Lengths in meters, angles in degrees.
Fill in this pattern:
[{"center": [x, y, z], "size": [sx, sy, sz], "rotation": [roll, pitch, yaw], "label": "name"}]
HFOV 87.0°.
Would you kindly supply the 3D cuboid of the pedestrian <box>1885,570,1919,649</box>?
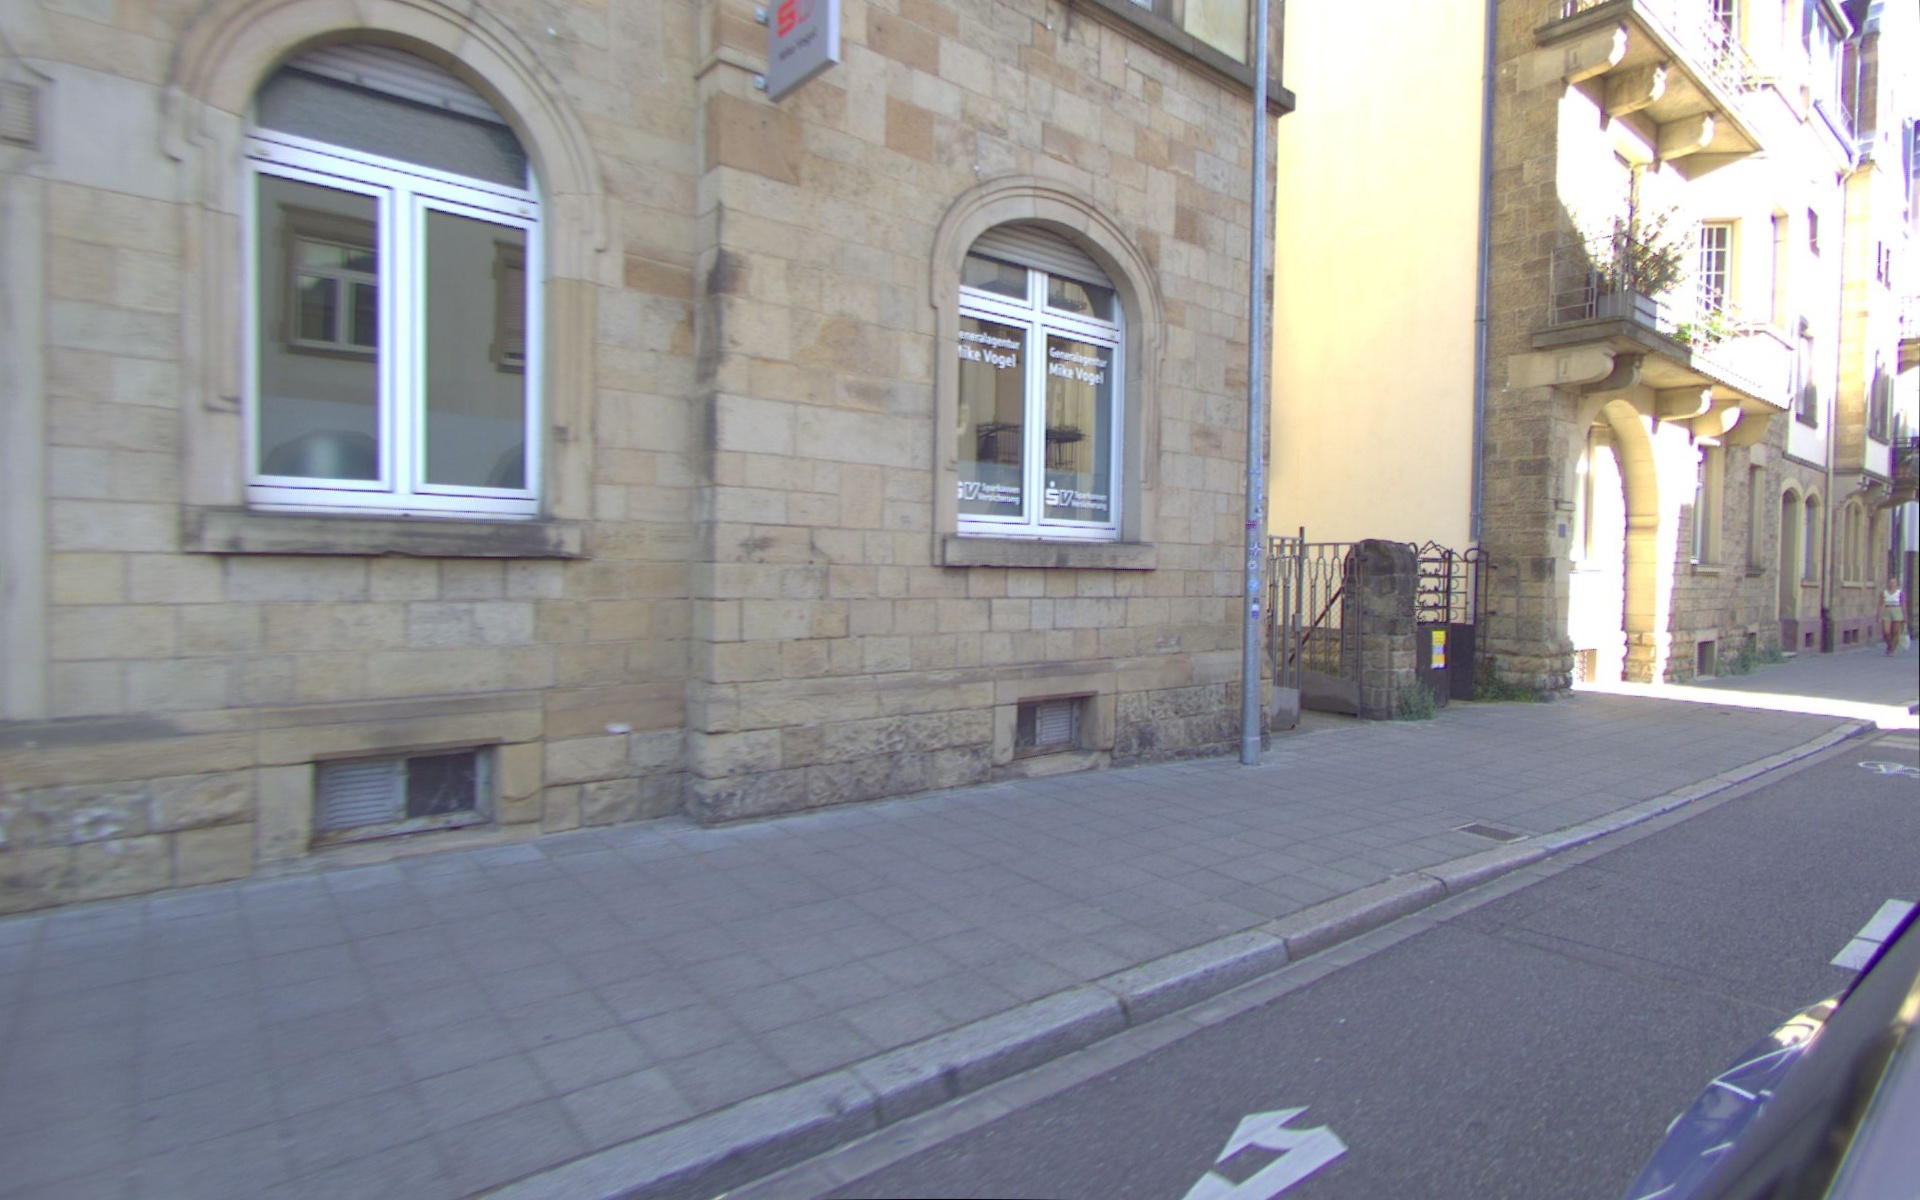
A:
[{"center": [21.487, 0.206, 22.953], "size": [0.685, 1.743, 0.578], "rotation": [0, 2, -38], "label": "pedestrian"}]
